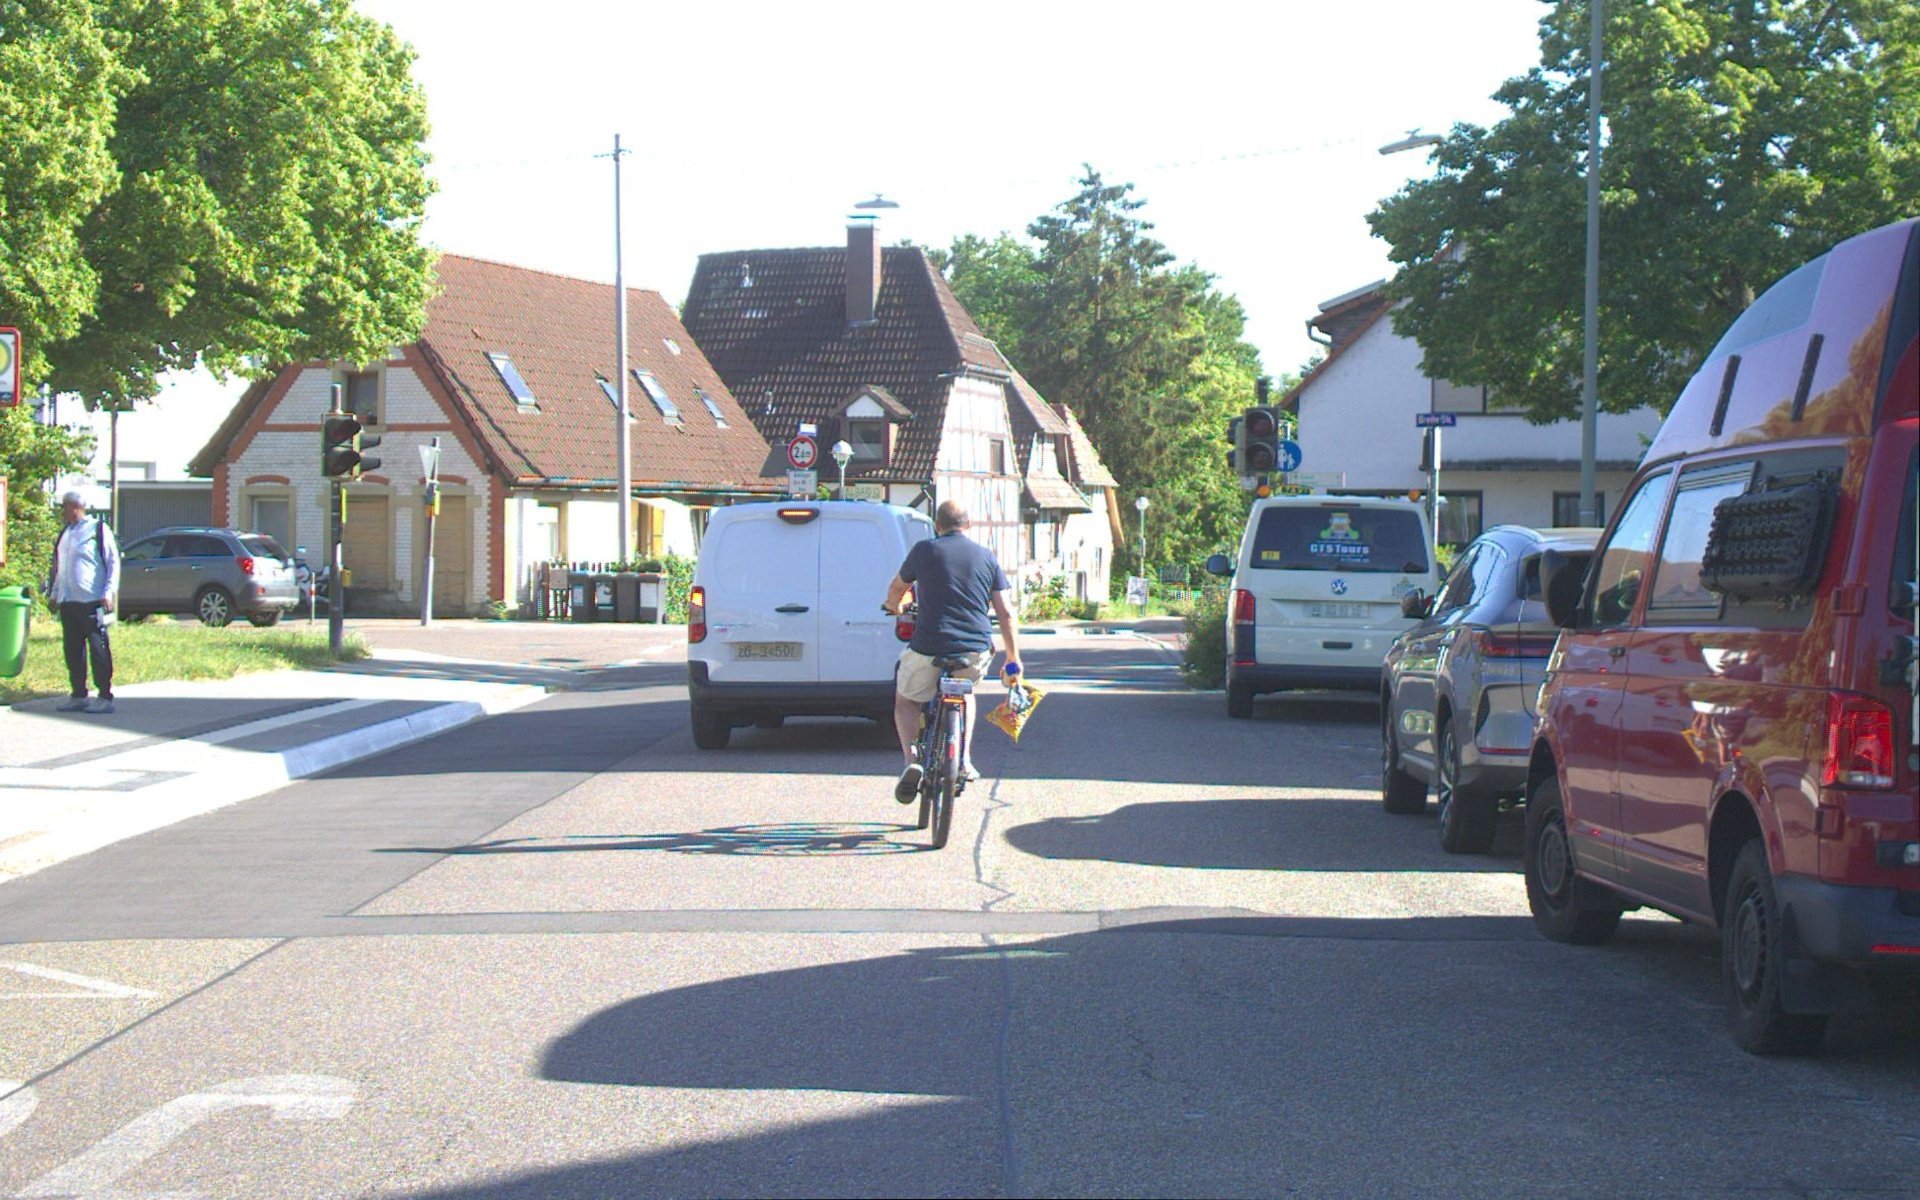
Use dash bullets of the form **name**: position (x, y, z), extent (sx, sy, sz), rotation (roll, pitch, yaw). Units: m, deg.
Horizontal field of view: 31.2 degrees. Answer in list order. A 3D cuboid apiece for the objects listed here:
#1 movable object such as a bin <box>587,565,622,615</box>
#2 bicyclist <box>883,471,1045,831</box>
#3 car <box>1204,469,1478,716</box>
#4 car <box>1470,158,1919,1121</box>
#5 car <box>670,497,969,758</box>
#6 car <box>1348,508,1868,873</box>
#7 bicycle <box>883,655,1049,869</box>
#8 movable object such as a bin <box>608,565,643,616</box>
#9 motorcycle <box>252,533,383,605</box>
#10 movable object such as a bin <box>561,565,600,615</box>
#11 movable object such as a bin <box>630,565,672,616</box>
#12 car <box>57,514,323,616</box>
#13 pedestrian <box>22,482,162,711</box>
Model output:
- **movable object such as a bin**: position (-6.606, -0.182, 63.825), extent (0.412, 0.903, 0.625), rotation (1, 2, 20)
- **bicyclist**: position (0.010, 0.246, 17.586), extent (0.764, 1.782, 0.853), rotation (1, 1, -2)
- **car**: position (3.414, -0.093, 31.625), extent (1.993, 2.072, 4.578), rotation (1, 1, 0)
- **car**: position (3.274, 0.070, 12.054), extent (1.957, 2.635, 5.224), rotation (1, 1, -2)
- **car**: position (-0.998, 0.131, 26.833), extent (1.957, 1.841, 4.560), rotation (0, 2, 3)
- **car**: position (3.411, 0.392, 19.018), extent (1.957, 1.732, 4.577), rotation (1, 1, 0)
- **bicycle**: position (0.005, 0.795, 17.633), extent (0.774, 0.937, 2.291), rotation (0, 1, -2)
- **movable object such as a bin**: position (-6.190, -0.172, 63.662), extent (0.411, 0.921, 0.625), rotation (1, 1, 20)
- **motorcycle**: position (-12.051, -0.582, 64.482), extent (2.244, 1.291, 0.882), rotation (0, 4, 21)
- **movable object such as a bin**: position (-7.065, -0.188, 64.016), extent (0.508, 0.921, 0.625), rotation (1, 1, 20)
- **movable object such as a bin**: position (-5.708, -0.171, 63.484), extent (0.556, 0.921, 0.625), rotation (1, 1, 20)
- **car**: position (-13.678, -0.628, 61.075), extent (4.225, 1.719, 1.943), rotation (1, 1, 21)
- **pedestrian**: position (-7.048, -0.039, 27.932), extent (0.717, 1.796, 0.770), rotation (3, 2, 26)
